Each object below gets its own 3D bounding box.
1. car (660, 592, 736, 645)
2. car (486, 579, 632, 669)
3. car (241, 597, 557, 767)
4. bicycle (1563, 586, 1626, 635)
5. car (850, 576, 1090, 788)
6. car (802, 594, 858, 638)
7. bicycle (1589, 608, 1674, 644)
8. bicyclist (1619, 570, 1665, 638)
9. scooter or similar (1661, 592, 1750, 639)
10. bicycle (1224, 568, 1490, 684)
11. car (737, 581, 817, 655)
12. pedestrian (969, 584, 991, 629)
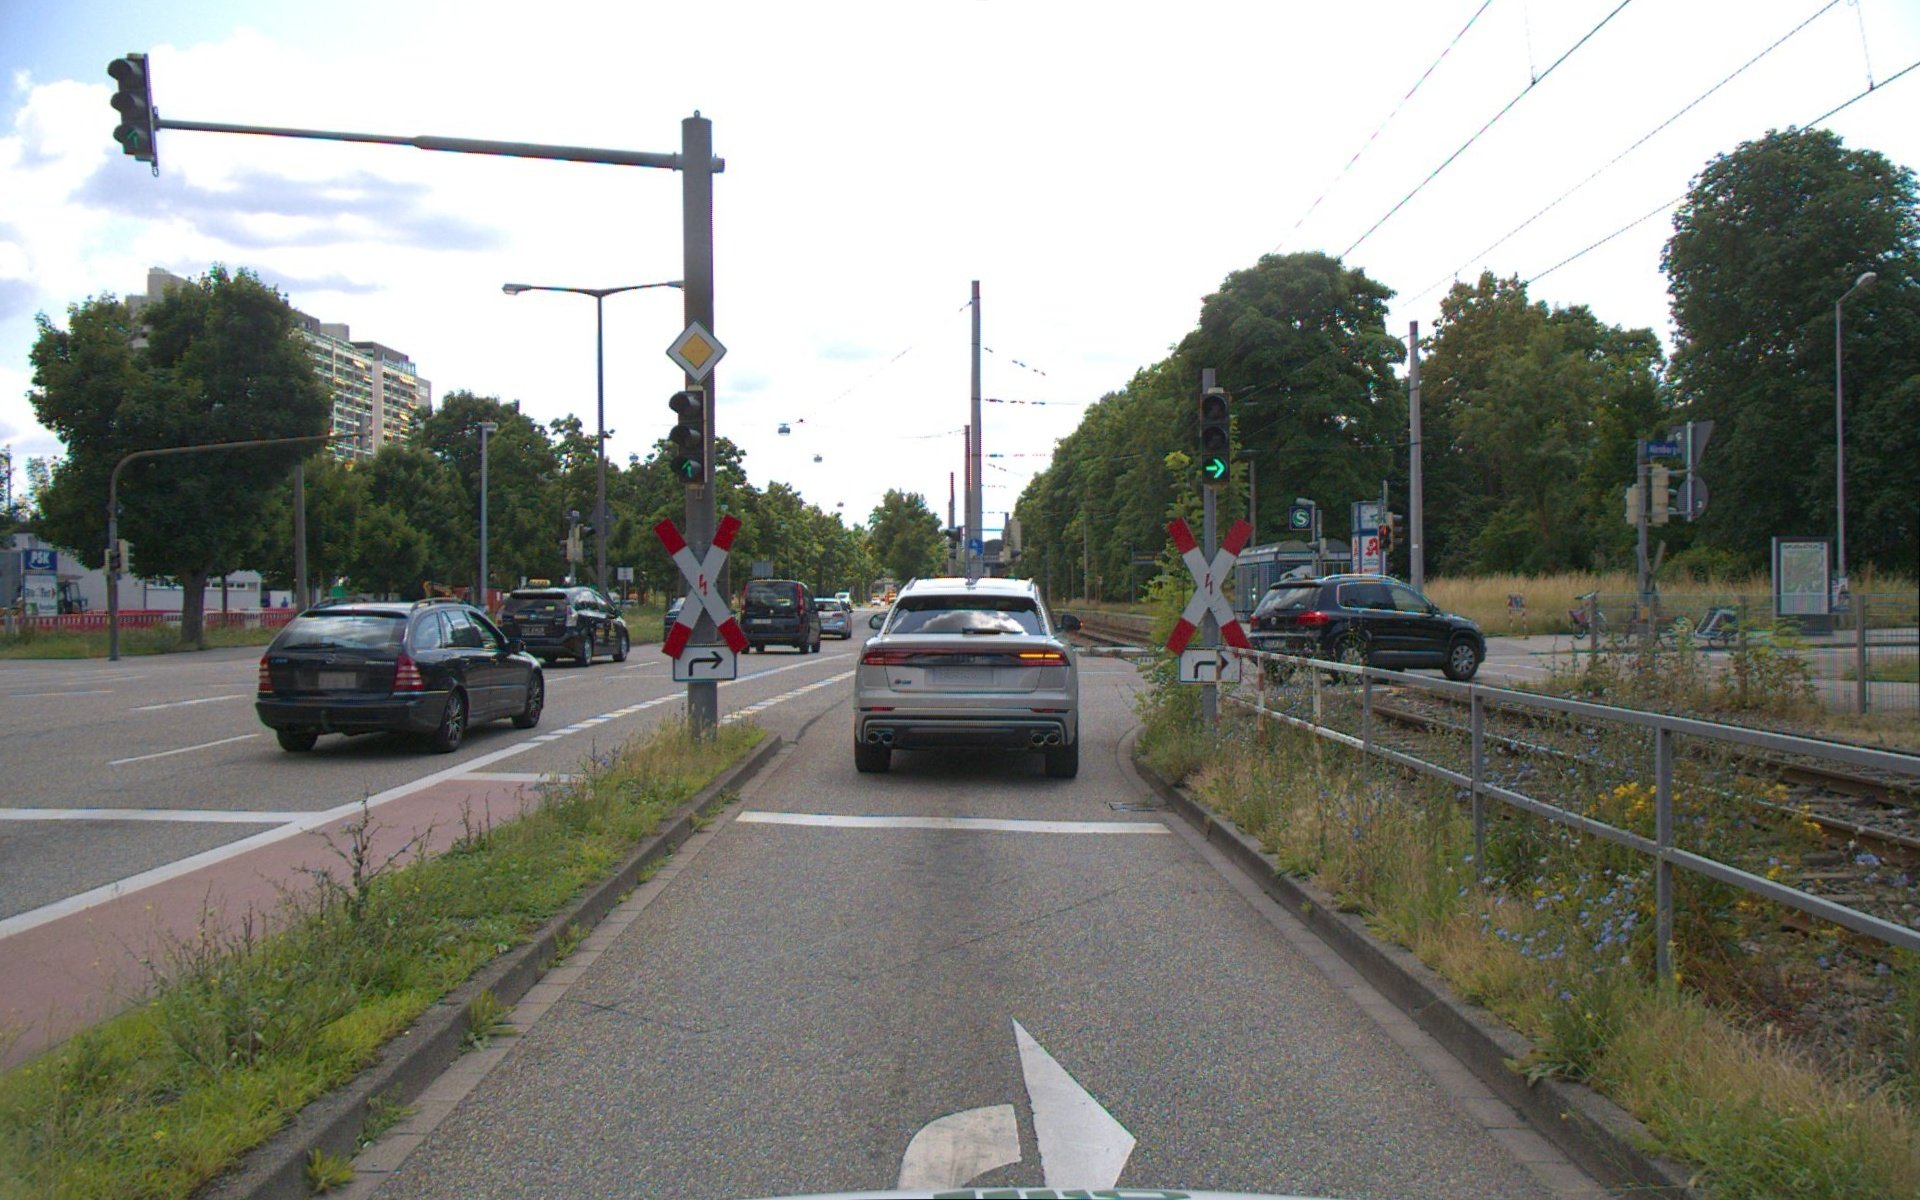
[{"bbox_3d":[-7.977,0.556,50.695,1.827,1.531,3.998,1,0,-2],"label":"car"},{"bbox_3d":[-8.118,0.463,33.869,1.748,1.697,4.341,1,0,2],"label":"car"},{"bbox_3d":[-5.552,0.728,16.983,1.719,1.491,4.433,-1,0,0],"label":"car"},{"bbox_3d":[16.218,0.263,42.243,1.642,1.152,0.693,-3,2,-35],"label":"bicycle"},{"bbox_3d":[0.101,0.653,15.798,1.941,1.713,4.574,1,0,0],"label":"car"},{"bbox_3d":[-4.727,0.569,60.643,1.749,1.552,4.300,1,0,-1],"label":"car"},{"bbox_3d":[15.097,0.580,37.191,1.686,0.778,0.555,0,0,2],"label":"bicycle"},{"bbox_3d":[15.302,0.097,37.127,0.821,1.501,0.455,-1,0,2],"label":"bicyclist"},{"bbox_3d":[16.644,0.346,36.967,1.542,0.997,0.963,-1,0,2],"label":"scooter or similar"},{"bbox_3d":[6.380,0.361,26.416,4.163,1.704,1.974,-1,0,-37],"label":"bicycle"},{"bbox_3d":[-4.691,0.446,42.814,1.724,1.808,3.907,1,0,-2],"label":"car"},{"bbox_3d":[0.705,0.233,57.548,0.642,1.540,0.716,-1,0,-9],"label":"pedestrian"}]
